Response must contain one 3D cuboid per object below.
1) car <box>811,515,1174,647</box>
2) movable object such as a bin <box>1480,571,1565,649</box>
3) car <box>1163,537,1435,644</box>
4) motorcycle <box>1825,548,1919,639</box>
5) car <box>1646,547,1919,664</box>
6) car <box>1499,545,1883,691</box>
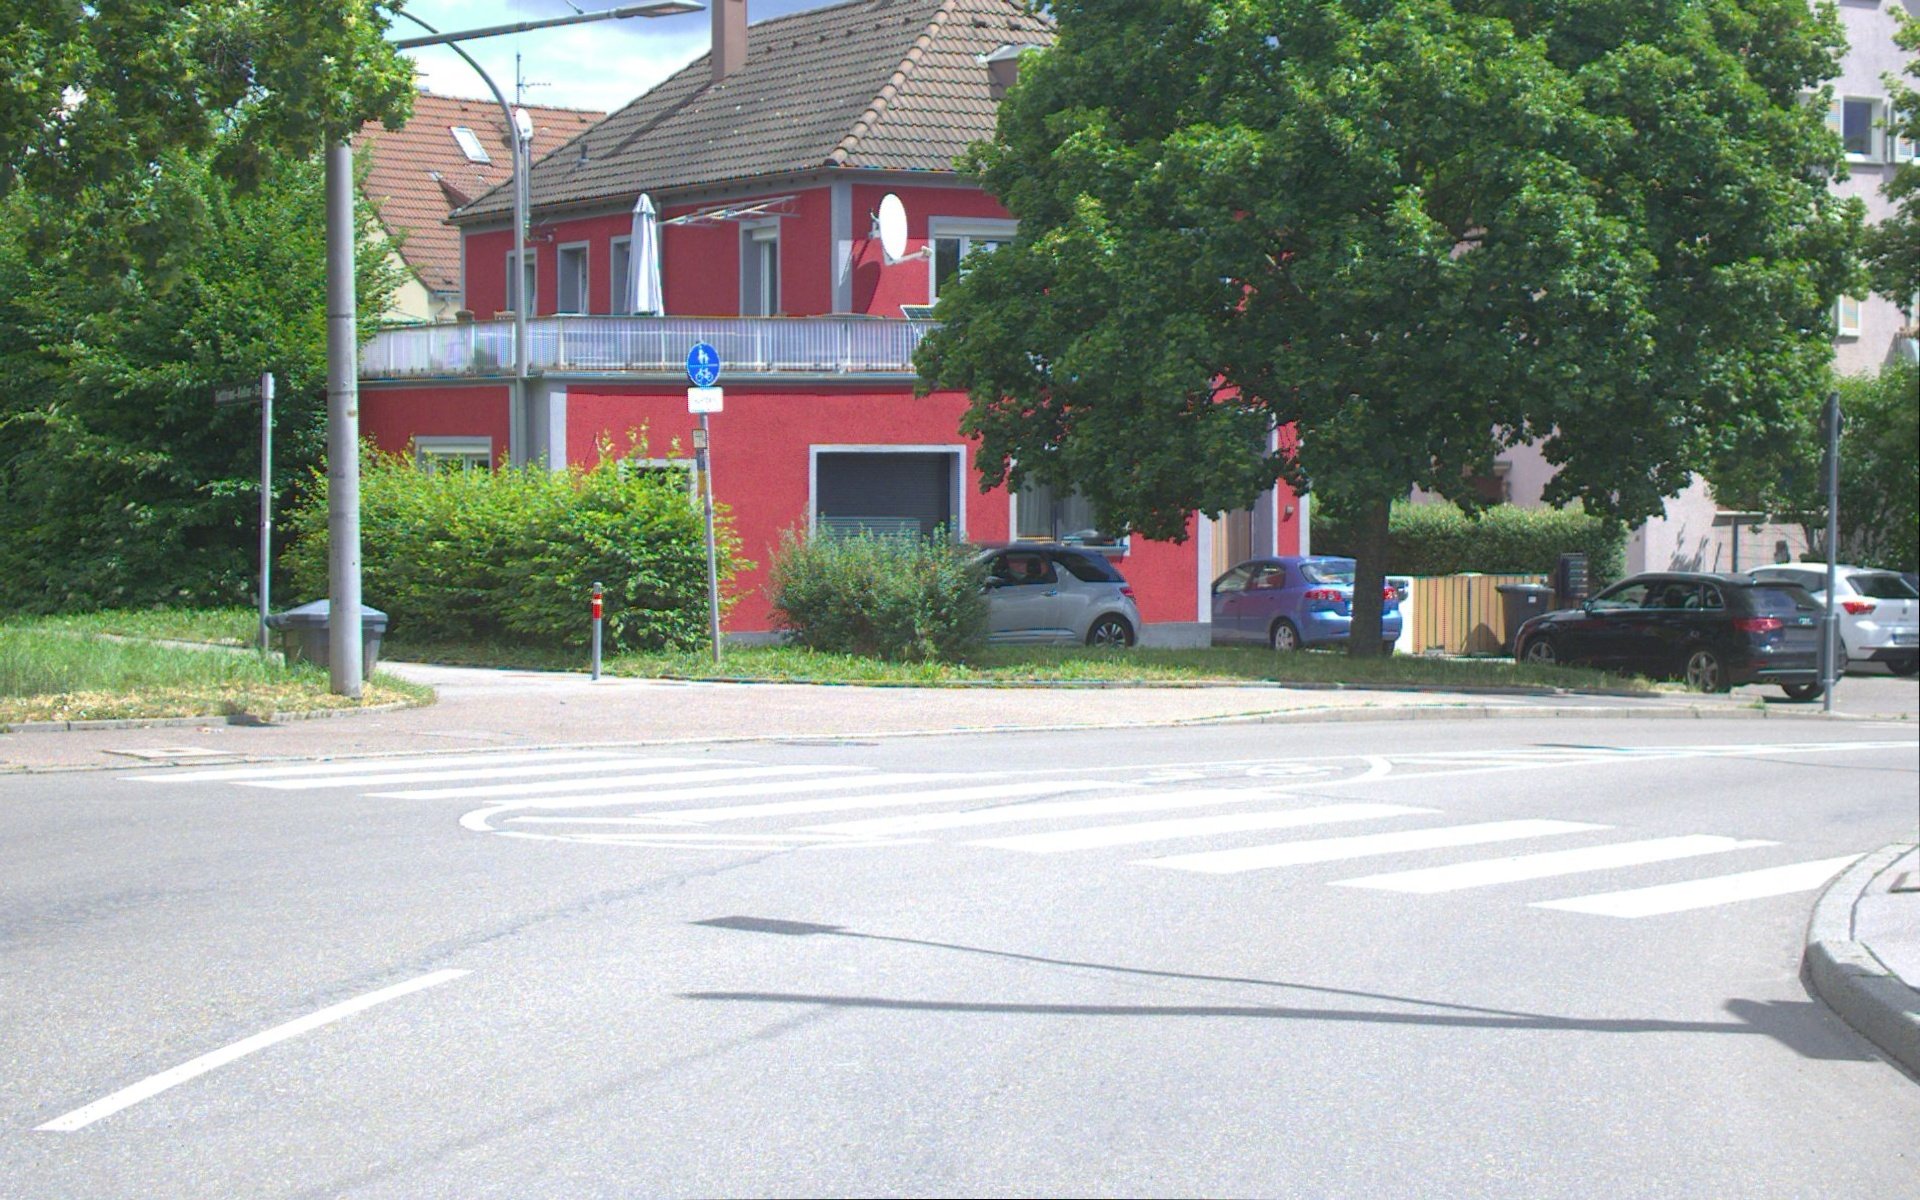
[{"bbox_3d":[0.407,-0.222,41.451,4.064,1.420,1.646,1,3,-32],"label":"car"},{"bbox_3d":[8.033,0.143,49.106,0.877,1.058,0.758,2,2,-27],"label":"movable object such as a bin"},{"bbox_3d":[4.664,-0.150,47.794,1.837,1.373,3.814,0,2,-31],"label":"car"},{"bbox_3d":[14.466,-0.083,52.865,2.228,1.311,0.920,2,2,-33],"label":"motorcycle"},{"bbox_3d":[11.321,0.063,46.122,1.870,1.399,3.932,1,1,-34],"label":"car"},{"bbox_3d":[8.346,0.180,39.592,1.993,1.388,4.145,1,3,-31],"label":"car"}]
